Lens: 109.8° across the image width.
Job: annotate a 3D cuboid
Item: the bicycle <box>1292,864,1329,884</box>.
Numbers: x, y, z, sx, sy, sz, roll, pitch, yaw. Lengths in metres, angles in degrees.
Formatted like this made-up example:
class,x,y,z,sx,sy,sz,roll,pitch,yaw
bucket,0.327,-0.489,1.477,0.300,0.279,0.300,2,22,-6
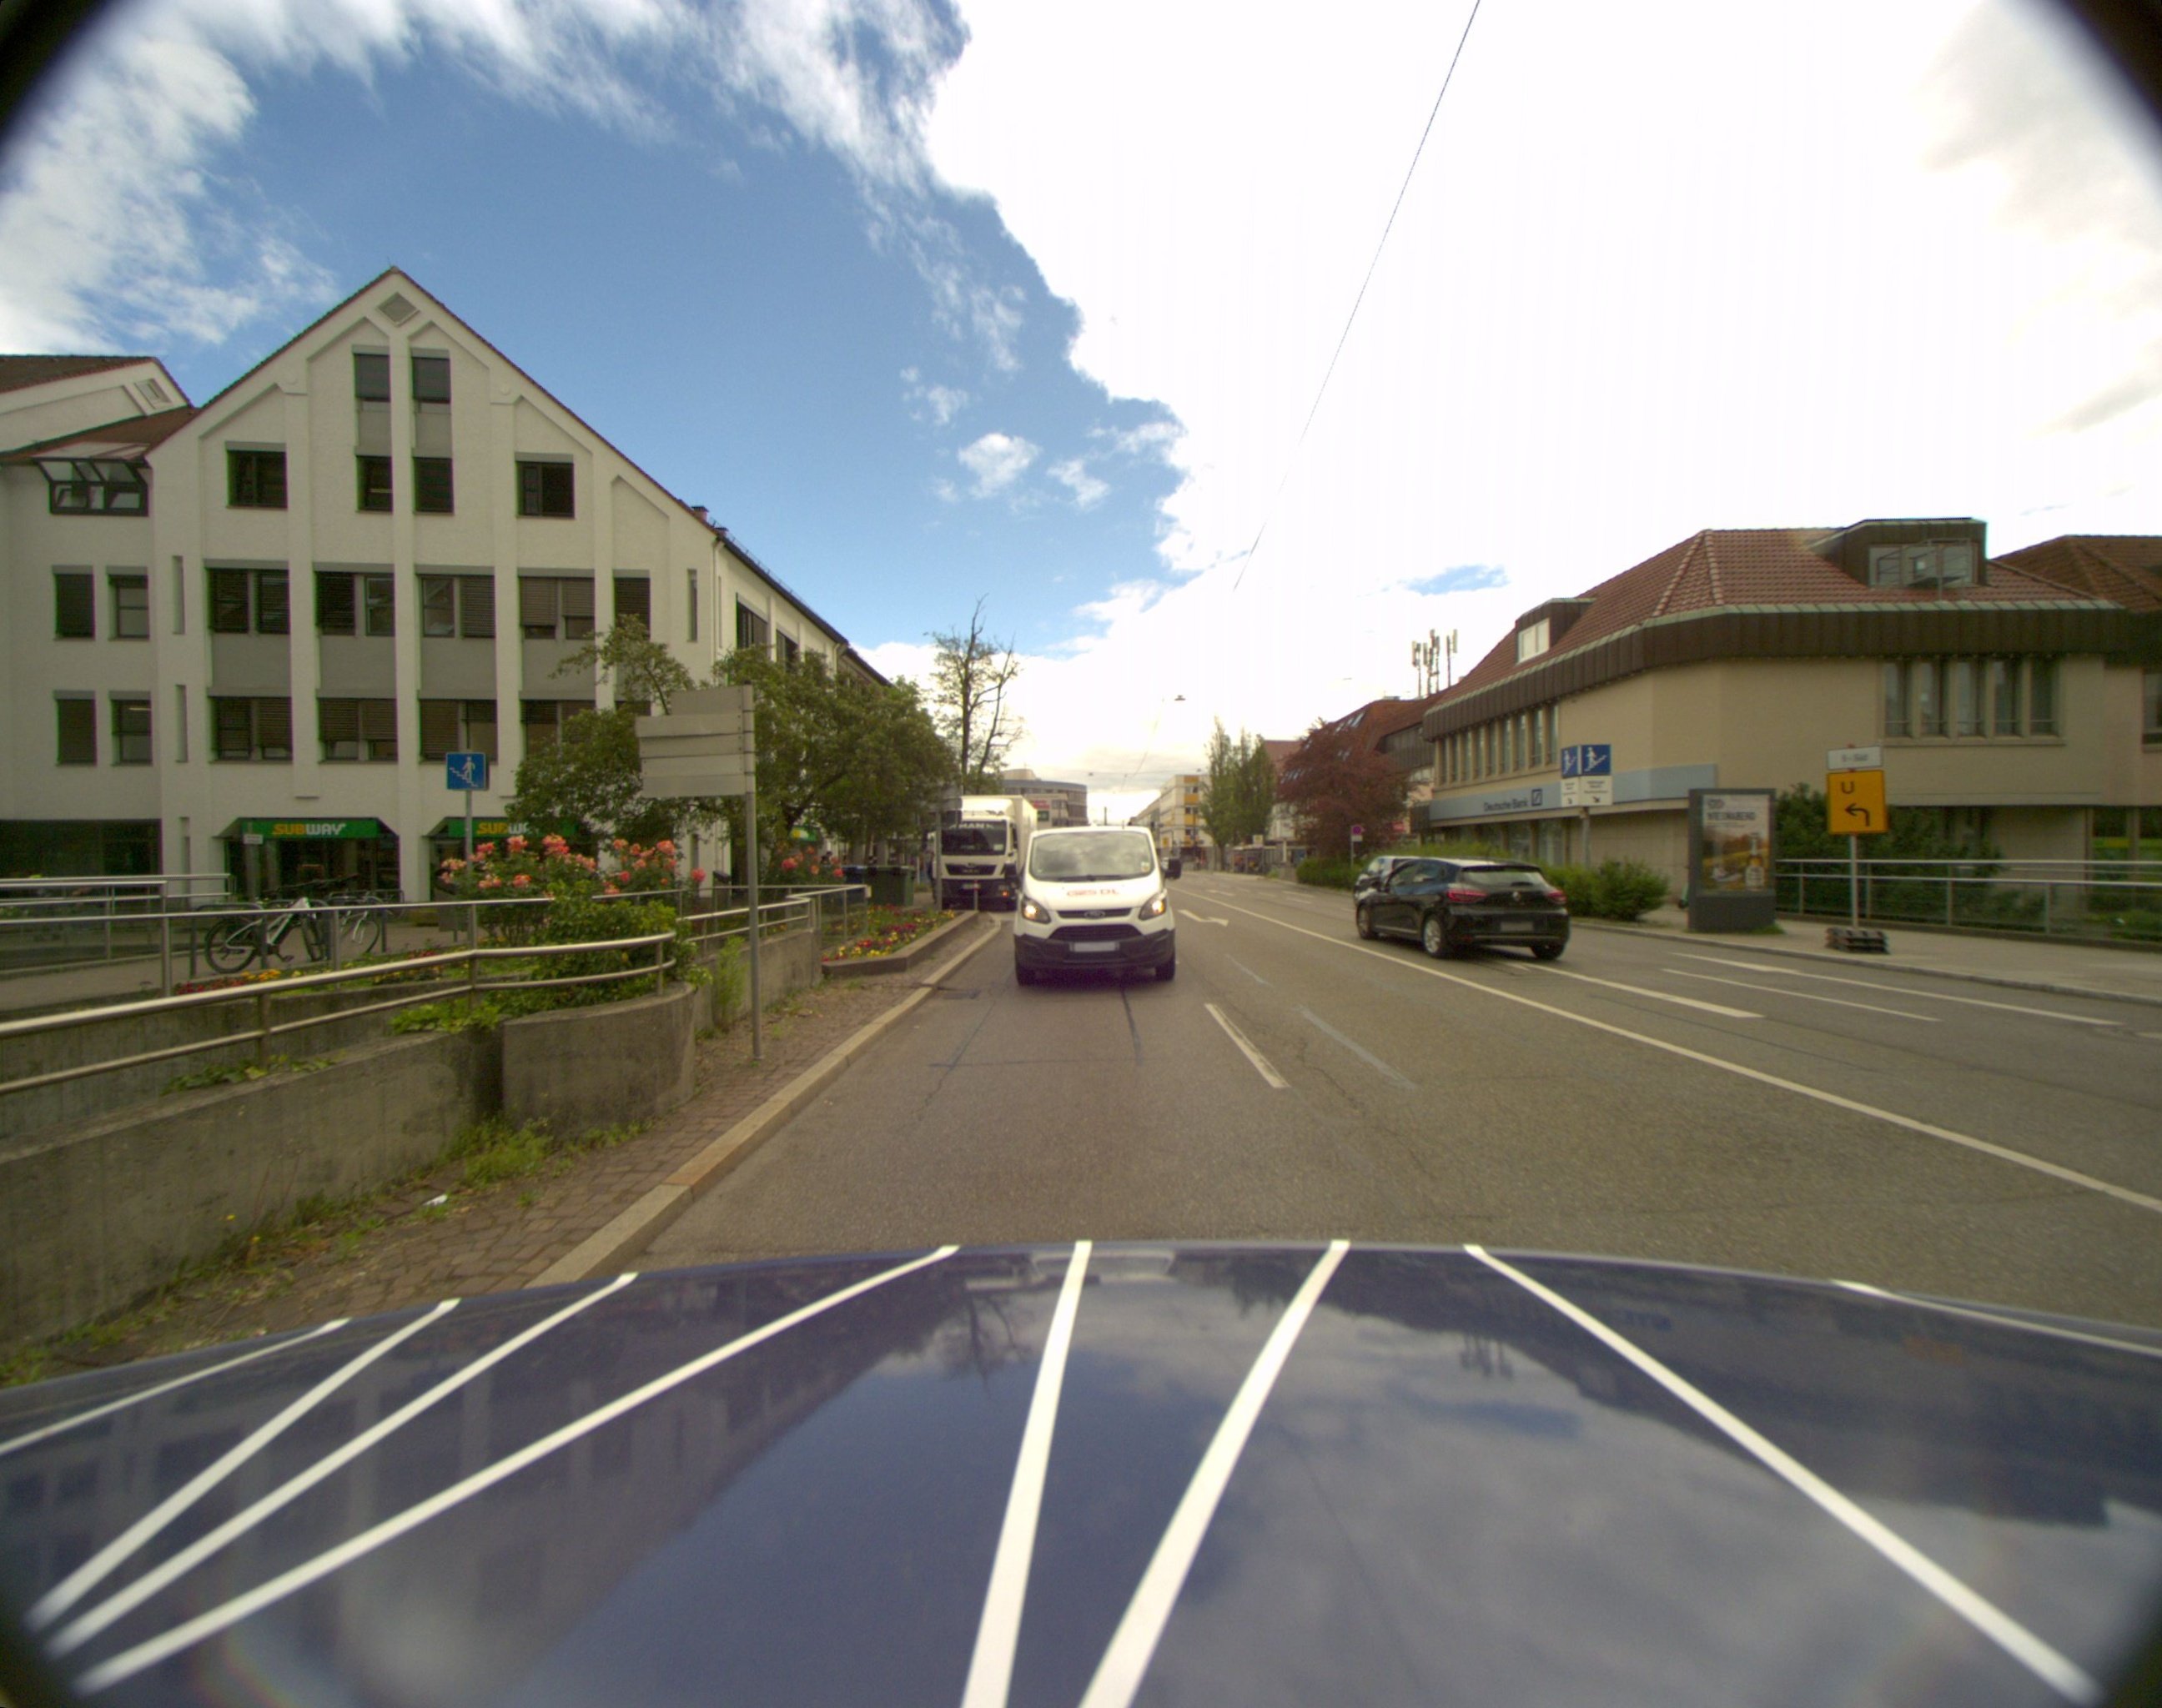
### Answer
class,x,y,z,sx,sy,sz,roll,pitch,yaw
bicycle,13.381,1.165,44.308,2.024,1.084,0.648,0,0,-9

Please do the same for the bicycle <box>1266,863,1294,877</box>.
class,x,y,z,sx,sy,sz,roll,pitch,yaw
bicycle,15.529,1.273,59.347,2.024,1.084,0.648,0,0,-9

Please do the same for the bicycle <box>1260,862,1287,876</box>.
class,x,y,z,sx,sy,sz,roll,pitch,yaw
bicycle,15.570,1.225,61.609,2.024,1.084,0.649,0,0,-4

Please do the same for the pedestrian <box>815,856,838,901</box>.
class,x,y,z,sx,sy,sz,roll,pitch,yaw
pedestrian,-9.212,0.868,27.502,0.574,1.593,0.746,0,0,1

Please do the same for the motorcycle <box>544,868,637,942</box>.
class,x,y,z,sx,sy,sz,roll,pitch,yaw
motorcycle,-10.244,1.022,15.966,0.722,1.430,1.945,0,0,-2

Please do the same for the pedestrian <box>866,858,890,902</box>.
class,x,y,z,sx,sy,sz,roll,pitch,yaw
pedestrian,-7.561,0.958,28.246,0.747,1.593,0.573,0,0,-28

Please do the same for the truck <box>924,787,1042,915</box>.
class,x,y,z,sx,sy,sz,roll,pitch,yaw
truck,-2.988,-0.051,26.013,2.695,3.540,9.766,0,0,0

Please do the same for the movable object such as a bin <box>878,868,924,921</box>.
class,x,y,z,sx,sy,sz,roll,pitch,yaw
movable object such as a bin,-4.625,1.023,19.539,0.883,1.331,1.085,0,0,2

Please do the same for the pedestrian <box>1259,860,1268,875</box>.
class,x,y,z,sx,sy,sz,roll,pitch,yaw
pedestrian,16.521,1.220,68.744,0.713,1.356,0.588,-1,-1,2

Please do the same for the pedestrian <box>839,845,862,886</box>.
class,x,y,z,sx,sy,sz,roll,pitch,yaw
pedestrian,-8.903,0.445,29.348,0.745,1.593,0.574,0,0,-2

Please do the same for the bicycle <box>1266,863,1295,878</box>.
class,x,y,z,sx,sy,sz,roll,pitch,yaw
bicycle,15.142,1.257,57.764,2.024,1.084,0.648,0,0,-9

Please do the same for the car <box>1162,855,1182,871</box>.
class,x,y,z,sx,sy,sz,roll,pitch,yaw
car,9.560,0.953,79.965,1.644,1.559,3.927,2,0,0

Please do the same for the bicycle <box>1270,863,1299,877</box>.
class,x,y,z,sx,sy,sz,roll,pitch,yaw
bicycle,15.707,1.238,58.652,2.024,1.084,0.648,0,0,-9

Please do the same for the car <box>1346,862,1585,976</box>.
class,x,y,z,sx,sy,sz,roll,pitch,yaw
car,5.540,0.841,11.551,1.621,1.420,3.922,0,0,-1

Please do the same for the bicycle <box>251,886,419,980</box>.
class,x,y,z,sx,sy,sz,roll,pitch,yaw
bicycle,-10.673,1.111,10.913,1.679,1.251,0.669,0,0,-3

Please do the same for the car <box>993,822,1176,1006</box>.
class,x,y,z,sx,sy,sz,roll,pitch,yaw
car,0.184,0.689,10.901,1.998,2.002,5.001,-1,0,3

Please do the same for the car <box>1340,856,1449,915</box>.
class,x,y,z,sx,sy,sz,roll,pitch,yaw
car,8.722,0.831,21.438,1.621,1.514,3.508,1,0,0

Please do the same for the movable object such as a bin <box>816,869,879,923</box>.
class,x,y,z,sx,sy,sz,roll,pitch,yaw
movable object such as a bin,-6.049,1.075,19.760,1.146,1.331,1.376,0,0,2

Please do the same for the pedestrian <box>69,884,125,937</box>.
class,x,y,z,sx,sy,sz,roll,pitch,yaw
pedestrian,-23.091,1.317,17.839,0.620,1.193,0.513,0,0,-2

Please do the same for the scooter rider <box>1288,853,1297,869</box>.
class,x,y,z,sx,sy,sz,roll,pitch,yaw
scooter rider,21.980,0.741,78.968,0.614,1.702,0.588,-3,0,-3

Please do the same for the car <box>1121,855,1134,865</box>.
class,x,y,z,sx,sy,sz,roll,pitch,yaw
car,7.992,1.000,131.789,2.074,1.728,4.693,1,0,1

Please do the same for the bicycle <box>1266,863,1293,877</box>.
class,x,y,z,sx,sy,sz,roll,pitch,yaw
bicycle,15.807,1.249,60.554,2.024,1.084,0.648,0,0,-9

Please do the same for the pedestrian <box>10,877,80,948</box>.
class,x,y,z,sx,sy,sz,roll,pitch,yaw
pedestrian,-22.125,1.231,16.239,0.608,1.467,0.620,0,0,-5

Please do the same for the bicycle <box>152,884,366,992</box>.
class,x,y,z,sx,sy,sz,roll,pitch,yaw
bicycle,-10.769,1.073,10.018,1.821,1.319,0.843,0,0,-3
